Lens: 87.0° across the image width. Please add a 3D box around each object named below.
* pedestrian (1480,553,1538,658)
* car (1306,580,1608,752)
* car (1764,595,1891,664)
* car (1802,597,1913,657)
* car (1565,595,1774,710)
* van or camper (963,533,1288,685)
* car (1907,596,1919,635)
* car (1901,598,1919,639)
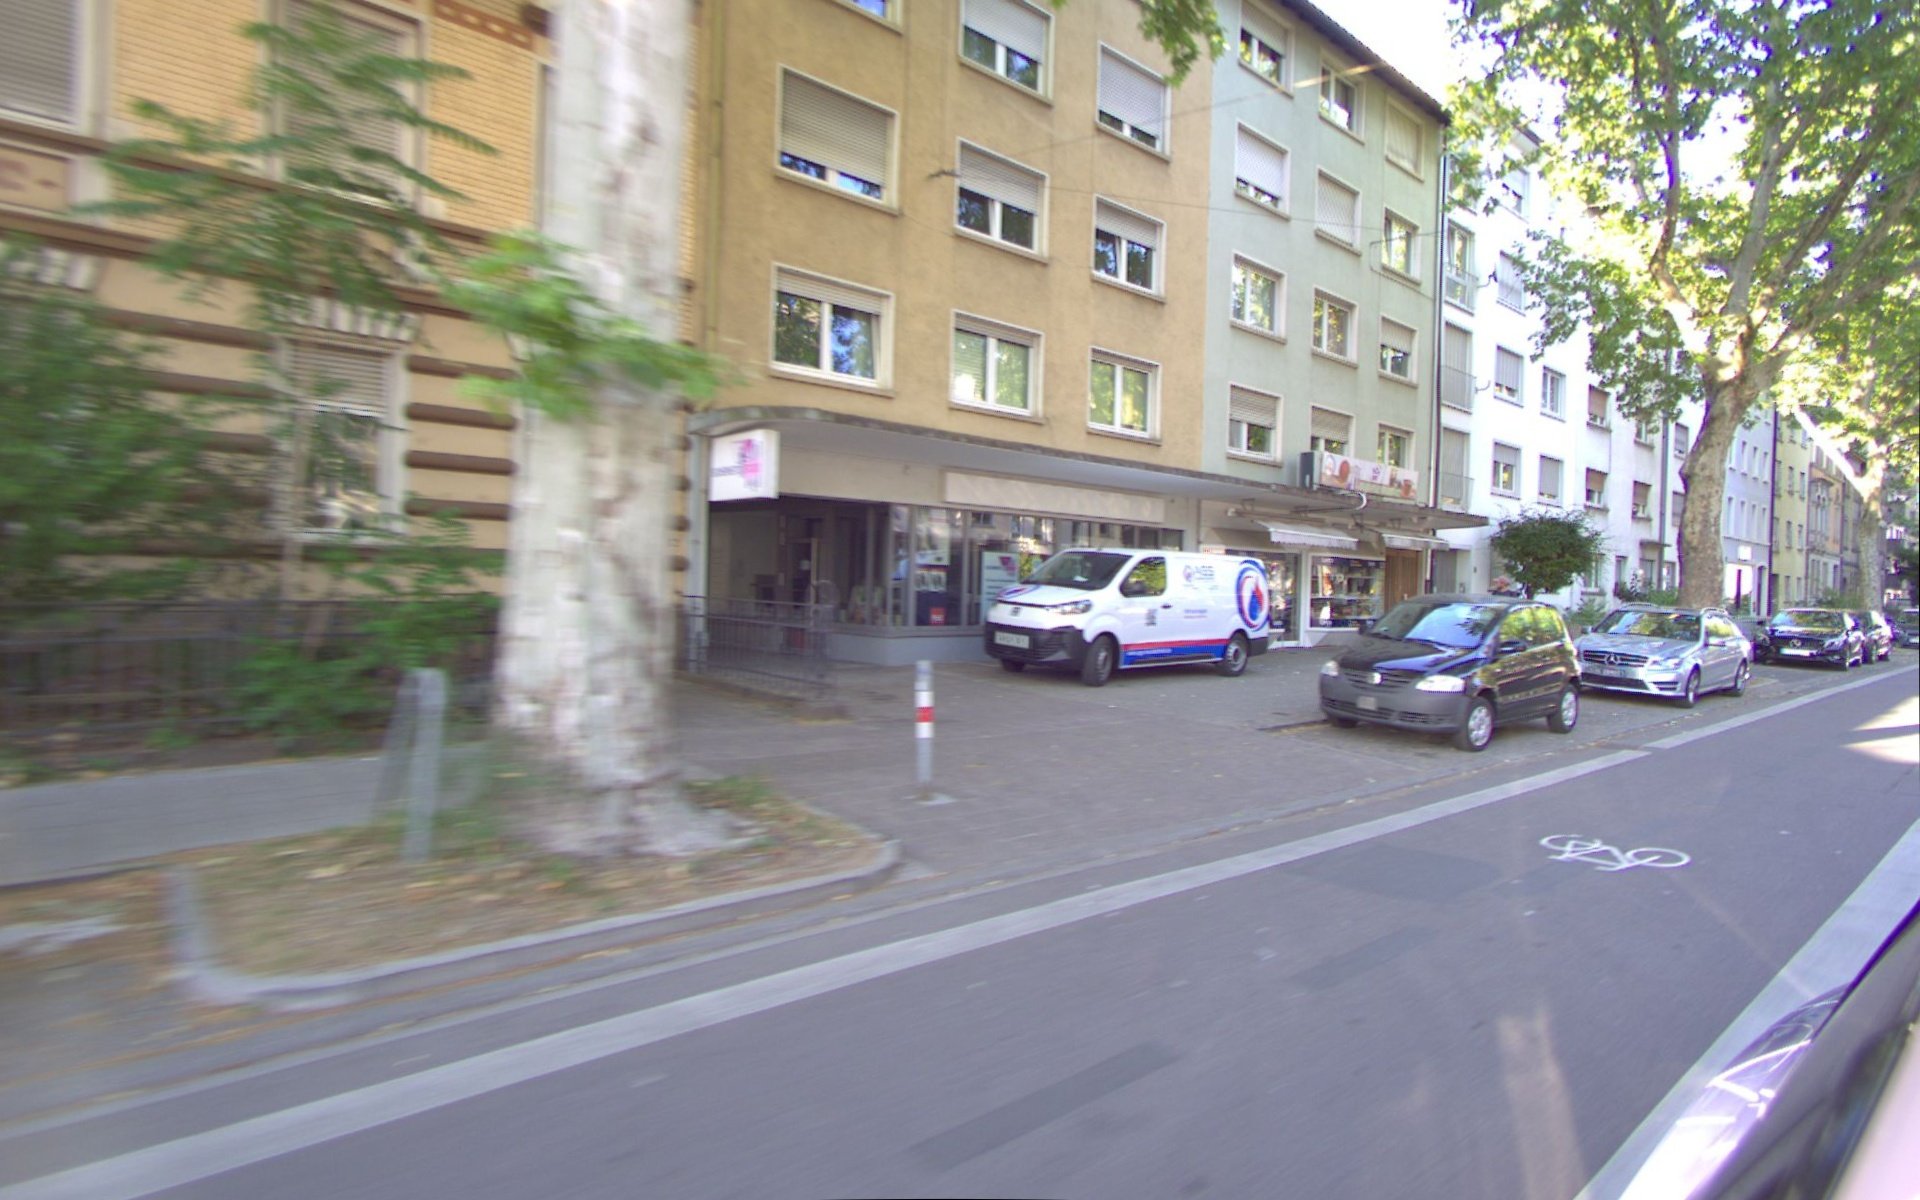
[{"bbox_3d":[10.955,0.102,20.181,0.994,2.039,0.684,1,1,-42],"label":"pedestrian"},{"bbox_3d":[5.687,0.605,11.380,3.931,1.564,1.656,0,2,-42],"label":"car"},{"bbox_3d":[21.305,0.656,24.792,4.288,1.432,1.712,0,4,-41],"label":"car"},{"bbox_3d":[24.878,0.685,28.008,4.288,1.432,1.712,0,4,-41],"label":"car"},{"bbox_3d":[11.512,0.732,16.286,4.694,1.562,1.698,0,1,-42],"label":"car"},{"bbox_3d":[2.676,0.081,15.379,5.298,1.946,1.945,0,2,-42],"label":"van or camper"},{"bbox_3d":[41.668,0.668,42.688,4.583,1.585,1.998,0,4,-41],"label":"car"},{"bbox_3d":[36.769,0.694,38.169,1.744,1.482,3.962,2,2,44],"label":"car"}]
